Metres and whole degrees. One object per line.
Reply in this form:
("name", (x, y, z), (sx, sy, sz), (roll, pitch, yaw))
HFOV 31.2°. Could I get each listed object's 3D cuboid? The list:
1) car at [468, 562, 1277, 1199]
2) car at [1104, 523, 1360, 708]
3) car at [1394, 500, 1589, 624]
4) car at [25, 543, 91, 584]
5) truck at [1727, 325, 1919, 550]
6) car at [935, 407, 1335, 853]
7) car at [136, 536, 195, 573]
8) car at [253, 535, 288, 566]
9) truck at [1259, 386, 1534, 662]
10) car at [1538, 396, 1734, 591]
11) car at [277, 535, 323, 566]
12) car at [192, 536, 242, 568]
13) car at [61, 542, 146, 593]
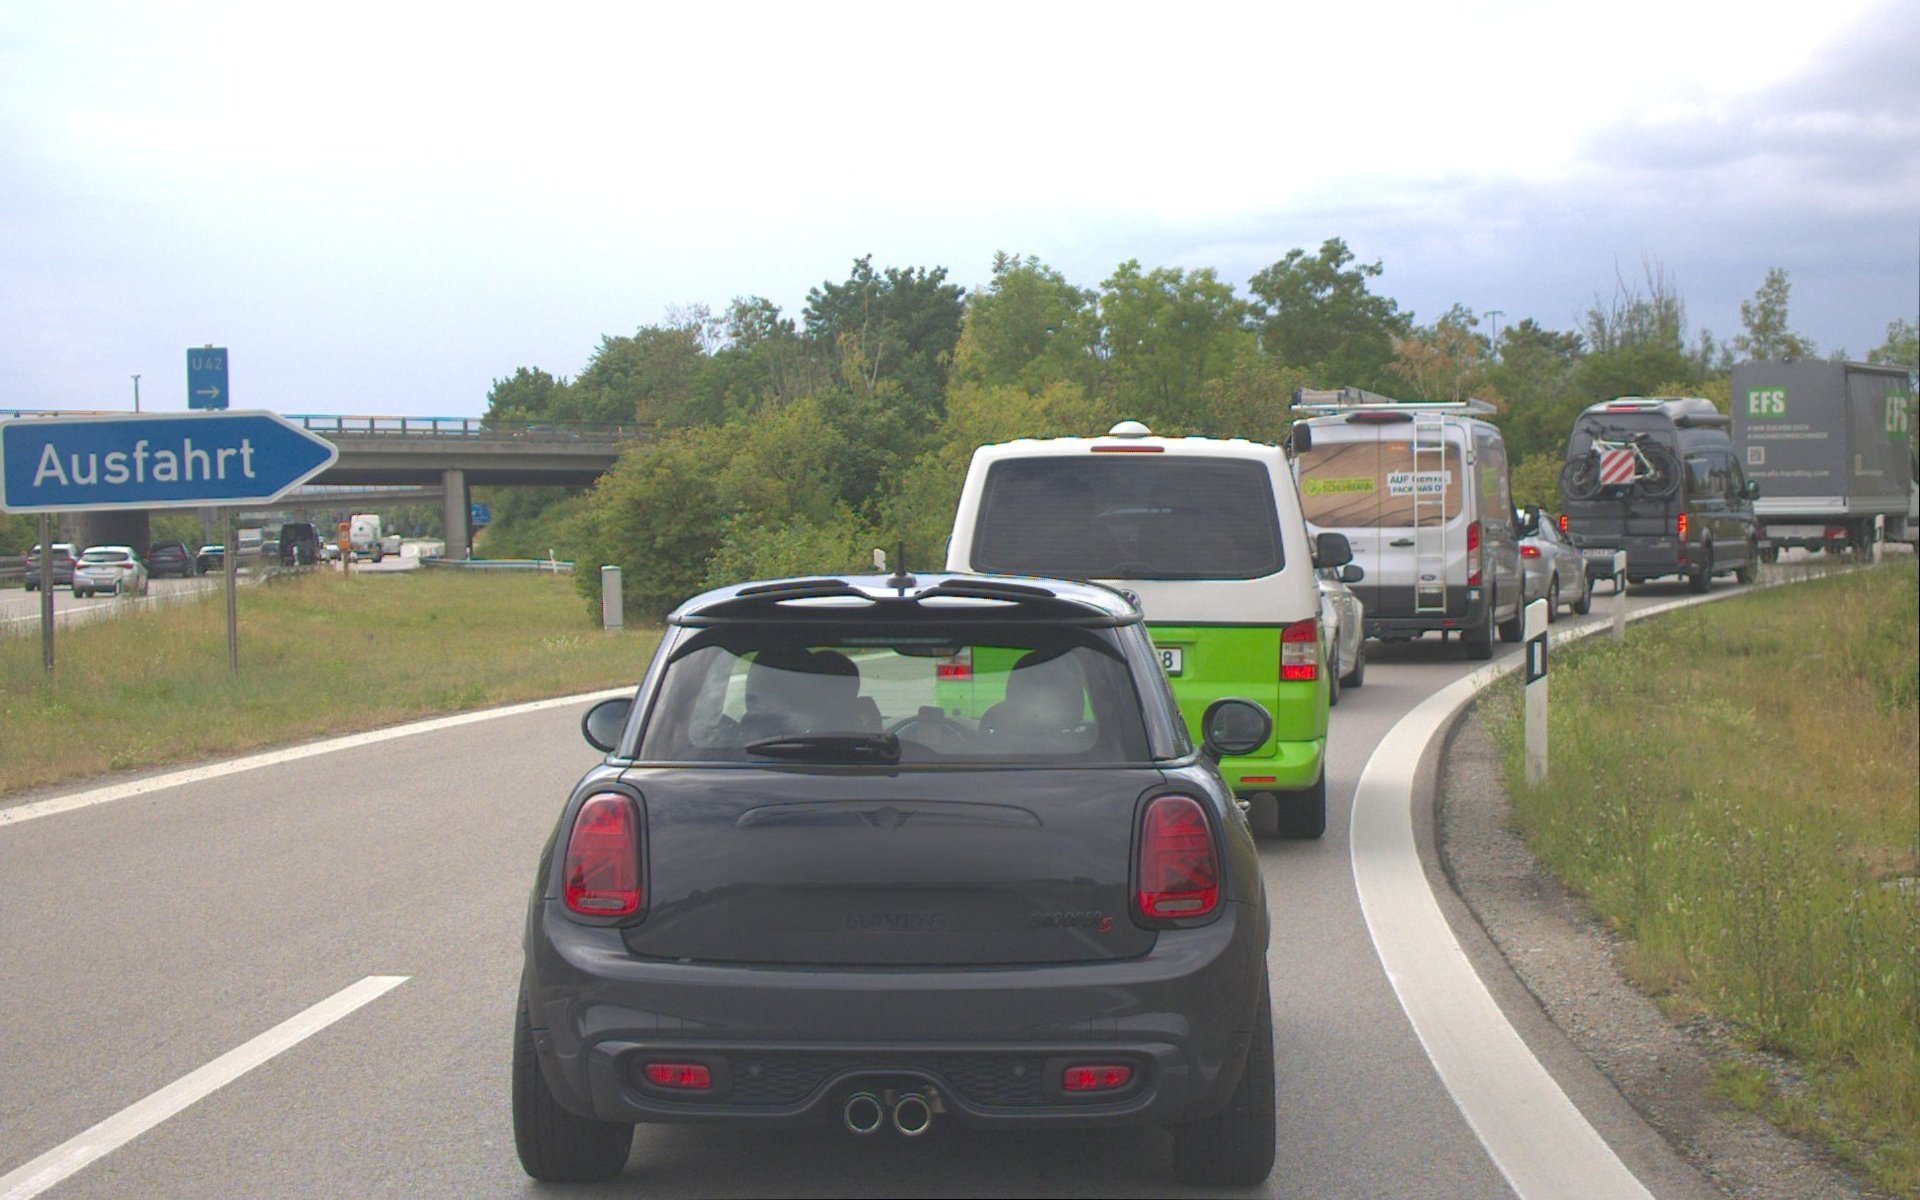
("car", (-0.176, 0.620, 9.219), (1.727, 1.409, 3.725), (0, 1, 0))
("car", (2.280, 0.083, 28.058), (1.763, 1.394, 3.724), (-1, 1, 9))
("car", (6.813, -0.500, 43.771), (1.868, 1.504, 3.997), (0, 1, 17))
("car", (-31.193, -1.278, 118.944), (1.779, 1.394, 4.307), (-1, 1, -9))
("truck", (16.204, -2.907, 63.610), (2.232, 3.893, 6.006), (1, 0, 29))
("car", (1.003, 0.088, 17.575), (1.784, 2.007, 3.999), (0, 1, 7))
("car", (-36.771, -2.137, 159.203), (2.095, 1.665, 4.307), (-1, 1, -6))
("car", (-45.491, -3.278, 226.810), (2.068, 2.007, 4.001), (1, 0, -9))
("truck", (4.640, -0.816, 35.831), (2.180, 2.649, 5.106), (0, 2, 15))
("car", (10.185, -1.594, 51.575), (2.107, 2.786, 3.995), (1, 2, 23))
("car", (-36.016, -2.721, 187.713), (2.095, 1.665, 4.307), (-1, 1, -6))
("car", (-39.878, -2.601, 184.638), (2.159, 1.665, 4.307), (-1, 1, -6))
("car", (-24.582, -0.951, 98.802), (1.779, 1.394, 4.030), (-1, 1, -6))
